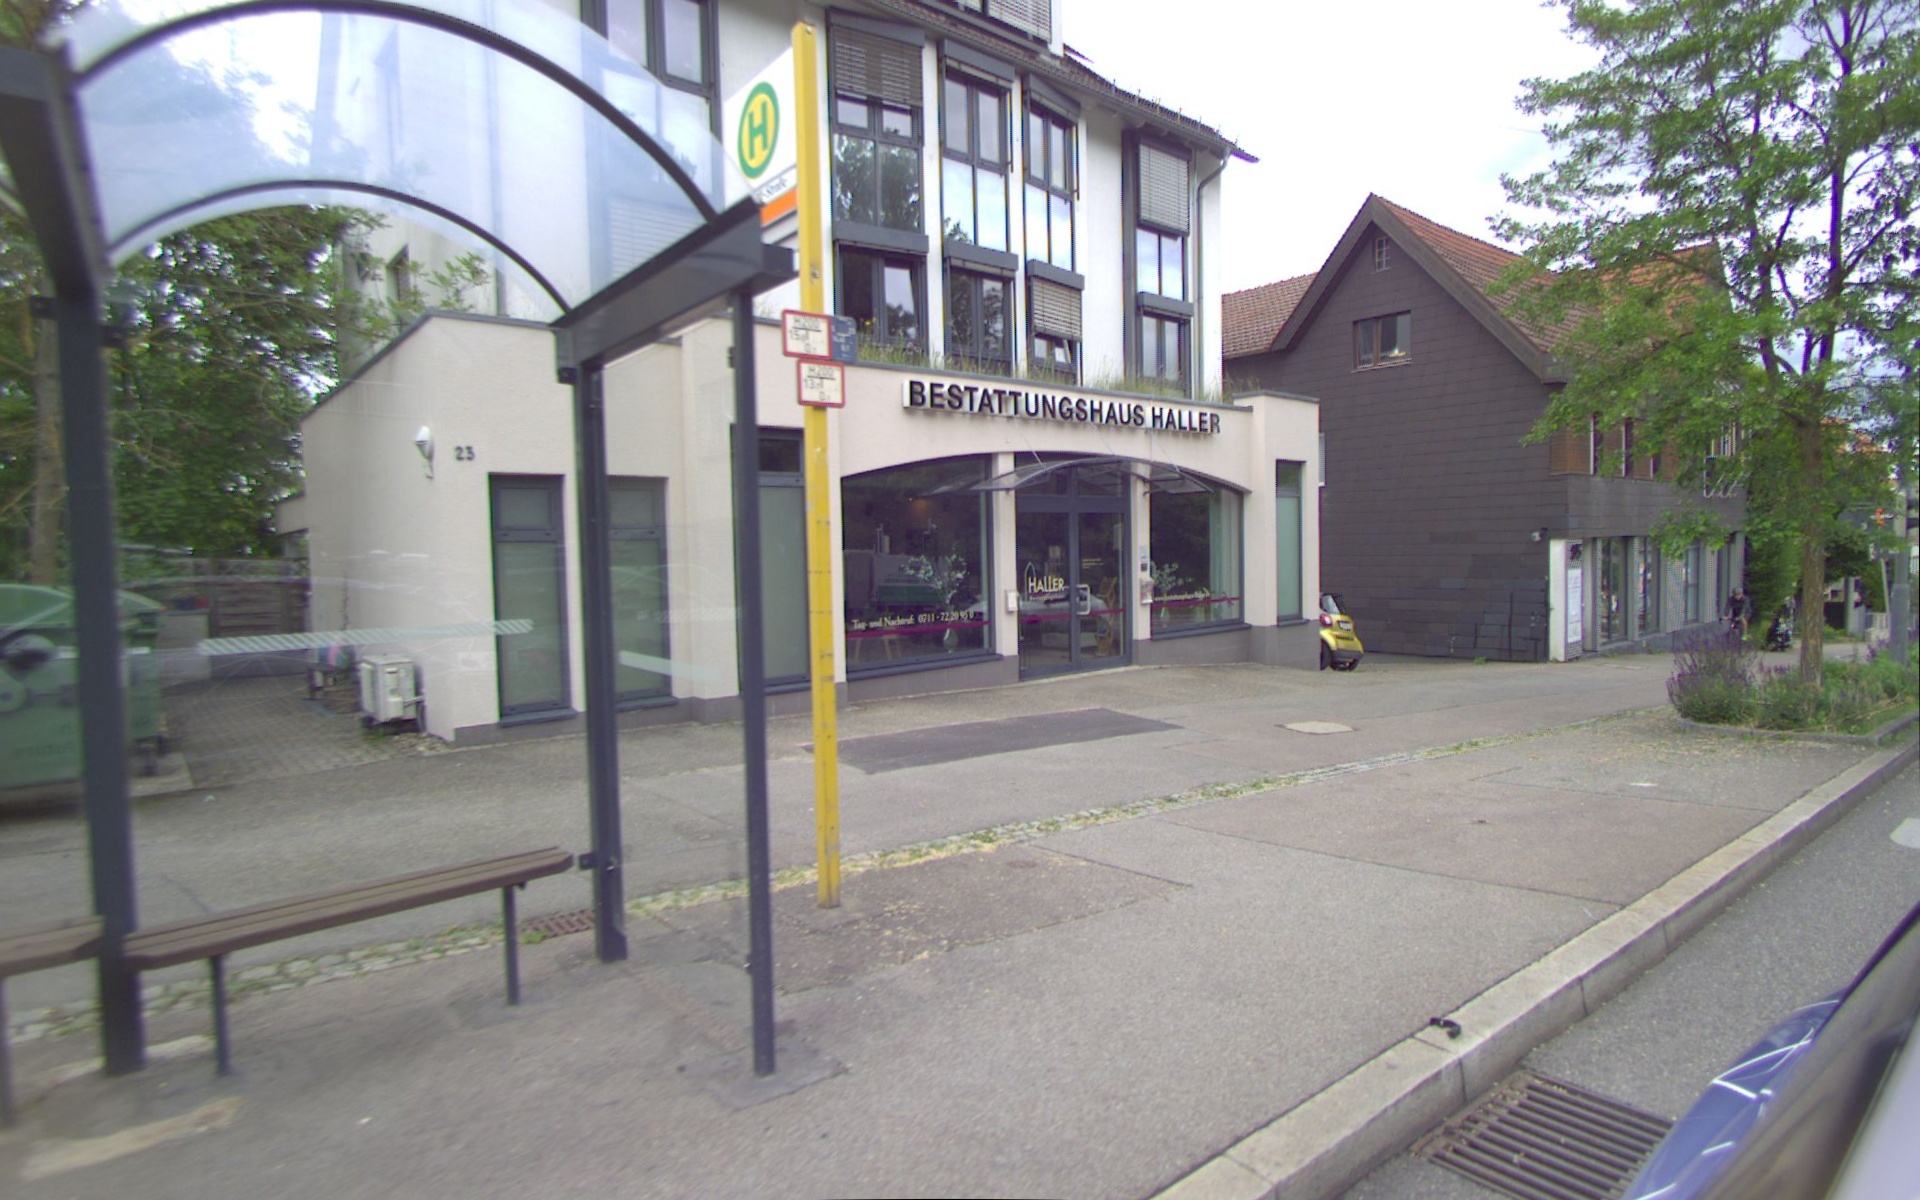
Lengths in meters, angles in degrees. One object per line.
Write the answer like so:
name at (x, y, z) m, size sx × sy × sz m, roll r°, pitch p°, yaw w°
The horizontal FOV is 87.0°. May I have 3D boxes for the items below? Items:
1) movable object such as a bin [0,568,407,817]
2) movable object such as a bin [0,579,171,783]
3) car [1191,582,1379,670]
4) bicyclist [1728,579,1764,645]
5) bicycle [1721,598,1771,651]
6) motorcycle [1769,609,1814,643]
movable object such as a bin at (-6.095, 0.528, 6.804) m, size 3.927 × 1.470 × 1.893 m, roll 0°, pitch 1°, yaw -38°
movable object such as a bin at (-6.847, 0.561, 7.859) m, size 1.107 × 1.427 × 1.344 m, roll 0°, pitch 0°, yaw -38°
car at (6.230, 0.552, 19.523) m, size 2.985 × 1.484 × 1.641 m, roll -6°, pitch -6°, yaw 41°
bicyclist at (20.009, 0.290, 25.764) m, size 0.930 × 1.654 × 0.539 m, roll 1°, pitch 0°, yaw -39°
bicycle at (20.011, 0.613, 25.764) m, size 2.002 × 1.278 × 0.572 m, roll 2°, pitch 1°, yaw -40°
motorcycle at (26.905, 0.824, 32.753) m, size 1.931 × 1.064 × 0.697 m, roll 1°, pitch 2°, yaw -38°
